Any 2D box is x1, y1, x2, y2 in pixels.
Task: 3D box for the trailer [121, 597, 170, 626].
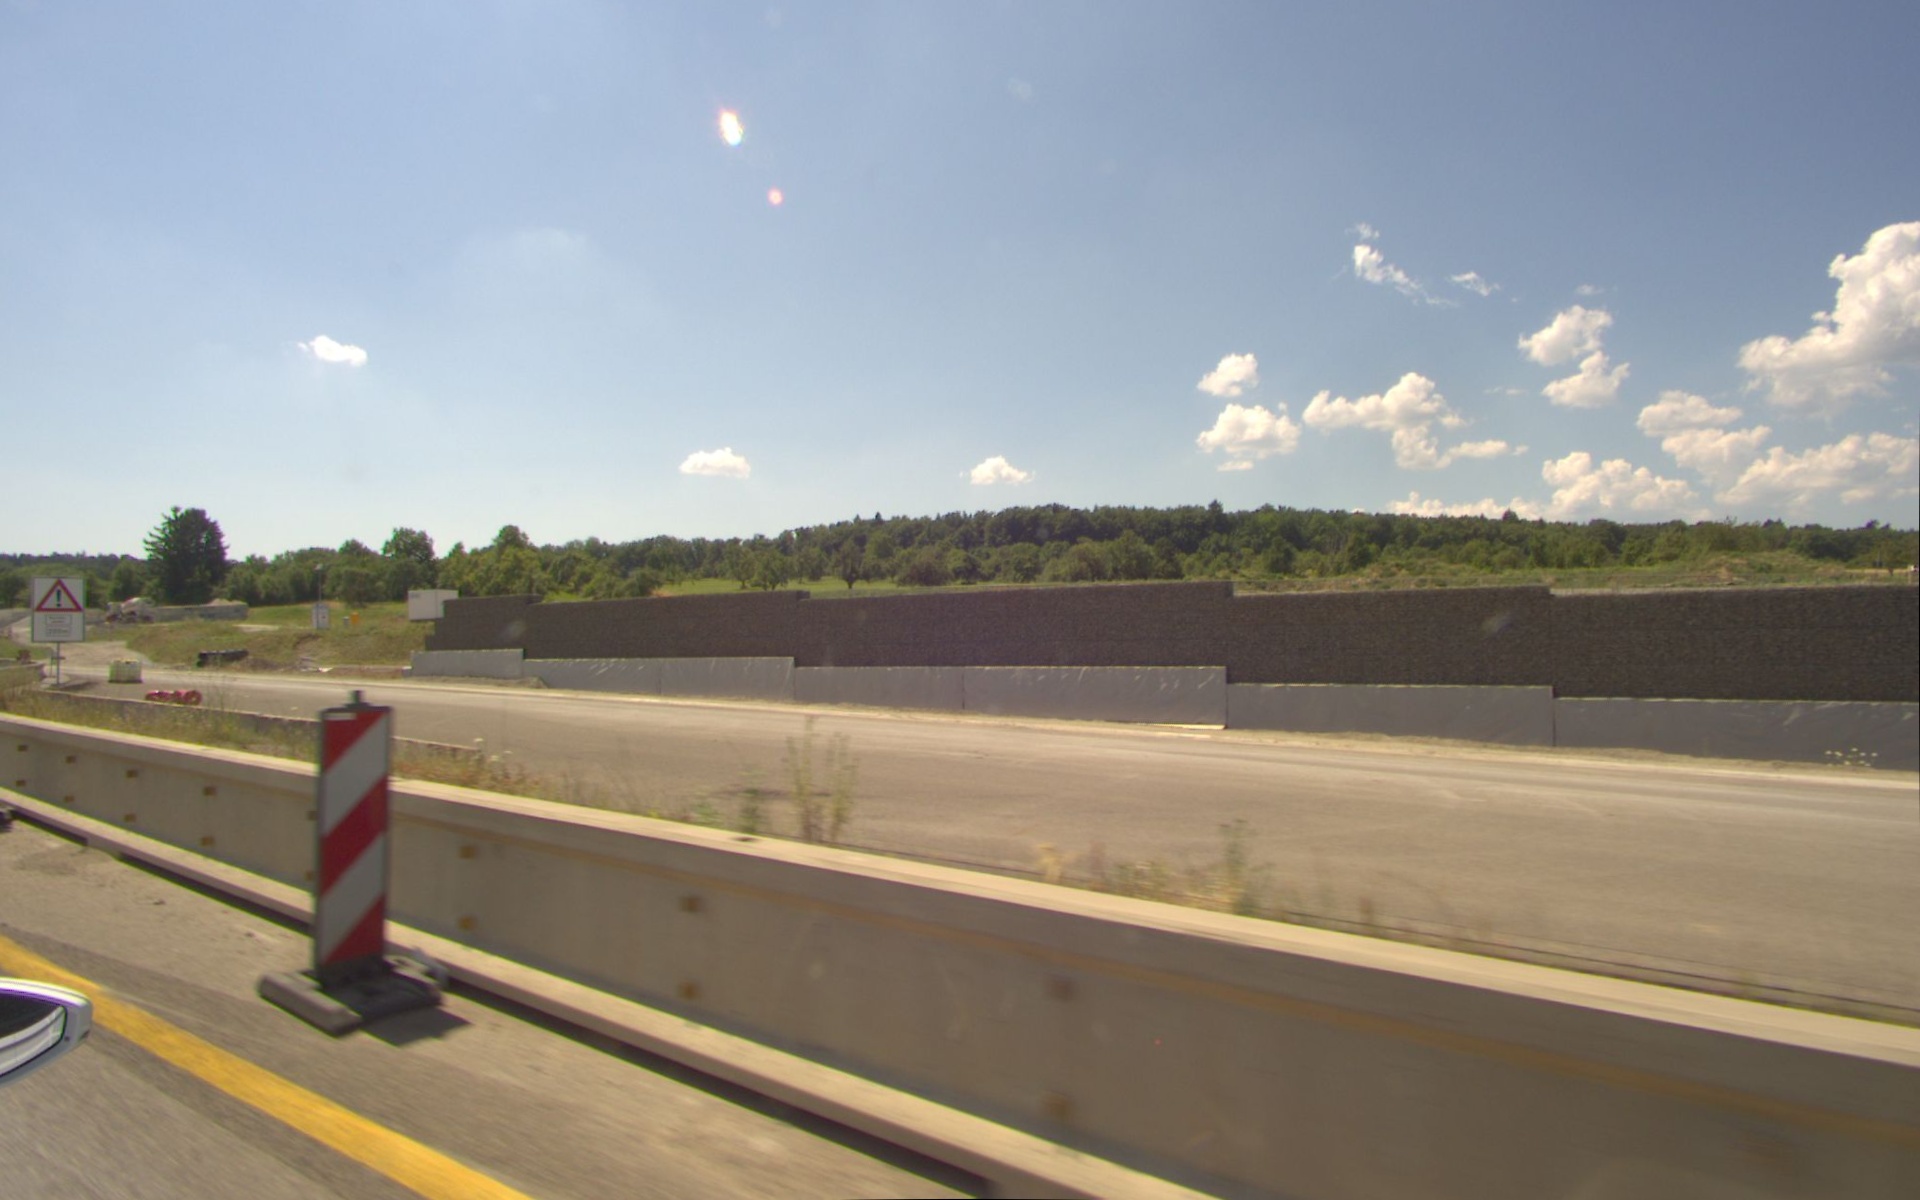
[{"bbox_3d":[-119.342,1.759,146.712,6.633,4.167,2.758,-1,-1,23],"label":"trailer"}]
